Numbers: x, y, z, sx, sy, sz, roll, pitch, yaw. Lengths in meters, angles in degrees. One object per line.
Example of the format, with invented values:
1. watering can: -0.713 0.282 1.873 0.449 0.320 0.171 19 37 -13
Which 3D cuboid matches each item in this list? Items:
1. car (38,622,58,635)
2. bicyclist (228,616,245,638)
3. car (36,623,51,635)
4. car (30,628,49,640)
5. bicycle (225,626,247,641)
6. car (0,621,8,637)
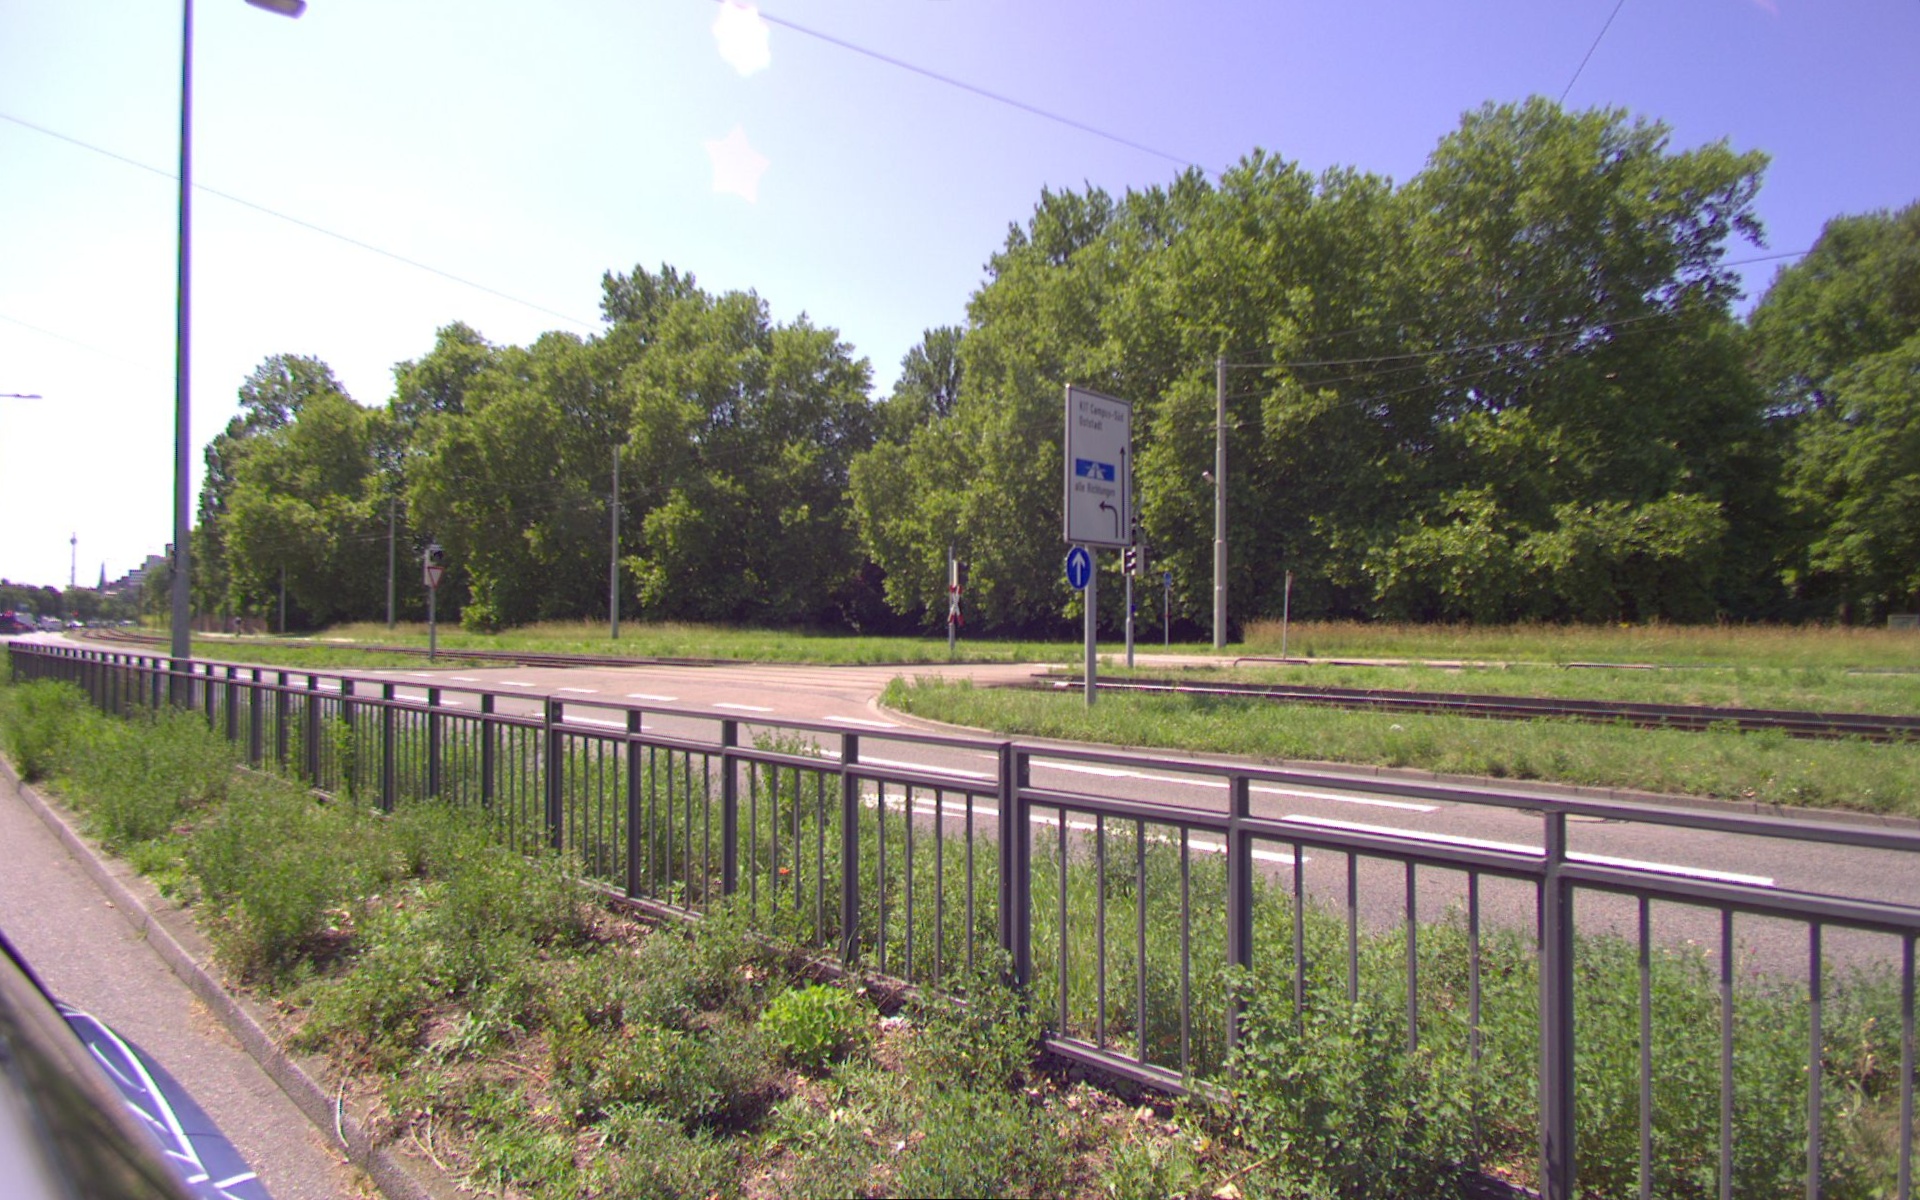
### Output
1. car: -136.774 4.261 151.778 1.970 1.871 4.003 1 -2 -44
2. bicyclist: -59.522 2.209 83.239 1.117 1.820 0.851 -1 -2 41
3. car: -169.509 5.349 187.170 1.970 2.029 4.004 -1 0 -43
4. car: -141.837 5.249 155.871 1.970 1.871 4.003 1 -2 -44
5. bicycle: -59.577 2.738 83.243 2.785 1.171 0.851 -1 -2 41
6. car: -107.936 3.246 113.276 1.970 1.871 4.004 1 -2 -43
